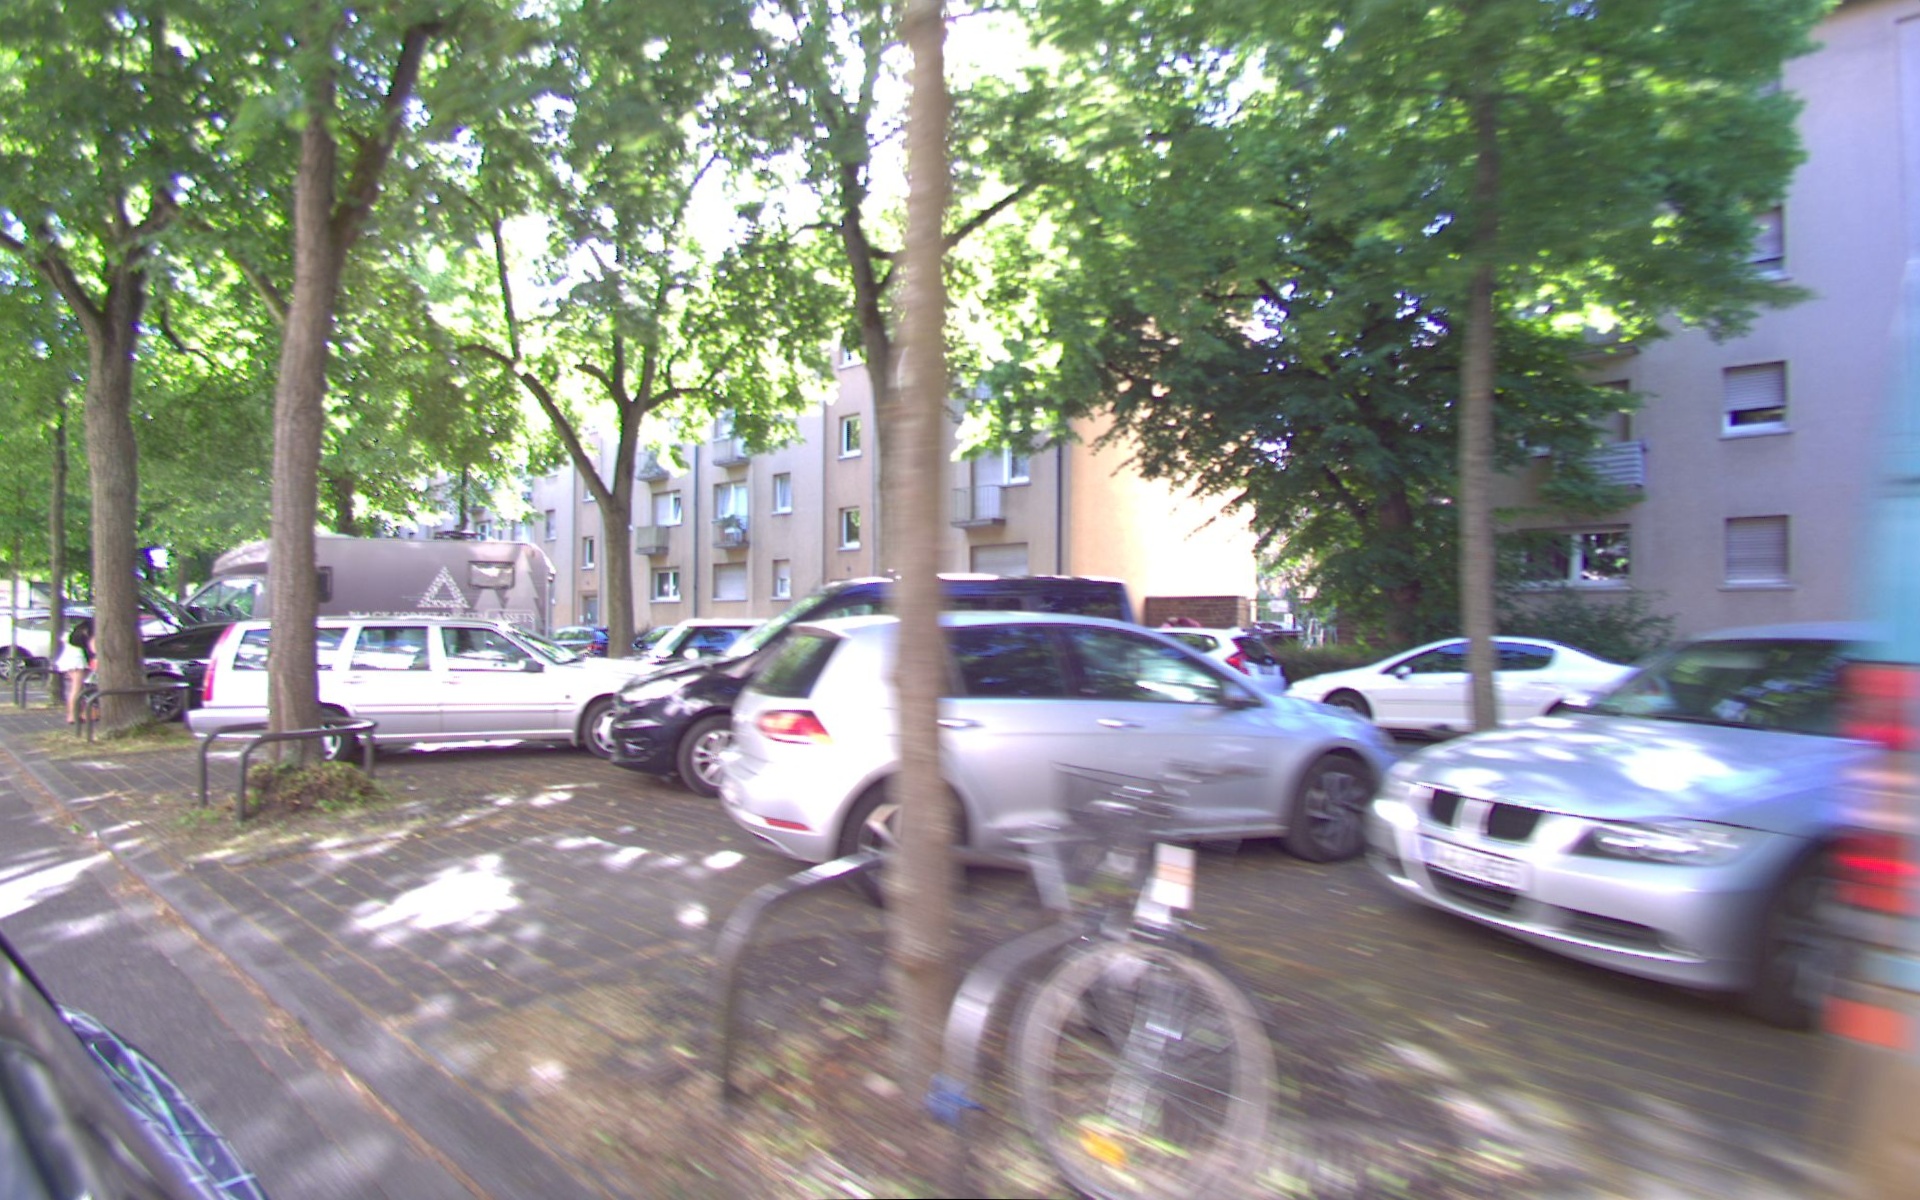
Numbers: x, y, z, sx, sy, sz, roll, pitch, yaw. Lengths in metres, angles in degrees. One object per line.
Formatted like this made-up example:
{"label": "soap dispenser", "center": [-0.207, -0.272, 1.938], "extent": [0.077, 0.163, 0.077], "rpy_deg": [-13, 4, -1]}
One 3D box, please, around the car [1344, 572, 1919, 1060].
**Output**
{"label": "car", "center": [3.909, 0.654, 4.404], "extent": [3.931, 1.441, 1.726], "rpy_deg": [0, -1, -17]}

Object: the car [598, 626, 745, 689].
{"label": "car", "center": [-7.681, 1.455, 26.784], "extent": [4.308, 1.519, 1.744], "rpy_deg": [-1, -2, 42]}

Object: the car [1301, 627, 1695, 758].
{"label": "car", "center": [6.893, 1.075, 13.277], "extent": [4.295, 1.435, 1.646], "rpy_deg": [-1, -2, 42]}

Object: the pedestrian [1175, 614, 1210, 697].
{"label": "pedestrian", "center": [4.972, 1.169, 21.666], "extent": [0.559, 1.740, 0.494], "rpy_deg": [-2, -2, 42]}

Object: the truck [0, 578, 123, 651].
{"label": "truck", "center": [-43.832, 0.674, 46.999], "extent": [7.200, 3.319, 2.554], "rpy_deg": [0, -2, -16]}

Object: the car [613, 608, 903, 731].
{"label": "car", "center": [-2.673, 0.837, 13.226], "extent": [3.512, 1.435, 1.680], "rpy_deg": [0, -1, -19]}

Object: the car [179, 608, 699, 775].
{"label": "car", "center": [-4.955, 0.822, 10.307], "extent": [4.413, 1.454, 1.737], "rpy_deg": [0, -1, -15]}

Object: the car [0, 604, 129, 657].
{"label": "car", "center": [-34.314, 1.134, 37.967], "extent": [4.445, 1.879, 2.088], "rpy_deg": [0, -1, -23]}

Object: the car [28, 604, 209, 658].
{"label": "car", "center": [-29.965, 1.095, 36.202], "extent": [4.526, 1.846, 2.025], "rpy_deg": [1, -1, -19]}

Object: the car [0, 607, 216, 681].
{"label": "car", "center": [-20.852, 1.024, 24.632], "extent": [4.075, 1.692, 1.765], "rpy_deg": [0, -1, -19]}

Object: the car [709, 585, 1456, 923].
{"label": "car", "center": [0.627, 0.680, 5.898], "extent": [3.888, 1.454, 1.852], "rpy_deg": [0, -1, -20]}

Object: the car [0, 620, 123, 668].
{"label": "car", "center": [-29.874, 1.390, 32.393], "extent": [4.413, 1.466, 1.793], "rpy_deg": [0, -1, -16]}

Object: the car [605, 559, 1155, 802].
{"label": "car", "center": [-0.738, 0.603, 8.951], "extent": [4.482, 1.777, 1.816], "rpy_deg": [0, -1, -18]}

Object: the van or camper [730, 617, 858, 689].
{"label": "van or camper", "center": [-3.845, 1.185, 23.338], "extent": [2.697, 1.567, 1.579], "rpy_deg": [-1, -2, 42]}

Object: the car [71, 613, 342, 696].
{"label": "car", "center": [-14.710, 1.036, 20.026], "extent": [3.931, 1.519, 1.763], "rpy_deg": [0, -2, -19]}

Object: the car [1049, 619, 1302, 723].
{"label": "car", "center": [3.467, 1.075, 16.680], "extent": [3.769, 1.511, 1.646], "rpy_deg": [-1, -2, 42]}

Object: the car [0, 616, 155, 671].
{"label": "car", "center": [-25.960, 1.212, 28.889], "extent": [4.349, 1.473, 1.721], "rpy_deg": [0, 0, -15]}

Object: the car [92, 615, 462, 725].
{"label": "car", "center": [-9.813, 0.959, 14.954], "extent": [4.254, 1.435, 1.680], "rpy_deg": [0, -1, -21]}

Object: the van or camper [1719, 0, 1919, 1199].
{"label": "van or camper", "center": [4.257, 0.219, 1.822], "extent": [5.420, 2.293, 2.228], "rpy_deg": [1, -2, -24]}

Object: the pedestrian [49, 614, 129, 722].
{"label": "pedestrian", "center": [-12.236, 0.935, 14.236], "extent": [0.699, 1.467, 0.598], "rpy_deg": [1, -2, -25]}

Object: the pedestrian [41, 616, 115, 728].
{"label": "pedestrian", "center": [-11.890, 0.948, 13.659], "extent": [0.606, 1.467, 0.521], "rpy_deg": [1, -2, -25]}

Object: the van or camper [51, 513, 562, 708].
{"label": "van or camper", "center": [-10.807, 0.219, 17.661], "extent": [7.124, 2.952, 2.321], "rpy_deg": [1, -2, -21]}

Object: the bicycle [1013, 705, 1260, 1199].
{"label": "bicycle", "center": [0.536, 0.888, 2.959], "extent": [0.506, 1.013, 1.718], "rpy_deg": [0, -1, 12]}

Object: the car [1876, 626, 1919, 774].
{"label": "car", "center": [11.383, 0.966, 9.301], "extent": [4.362, 1.435, 1.646], "rpy_deg": [-1, -2, 42]}

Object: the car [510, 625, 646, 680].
{"label": "car", "center": [-11.486, 1.514, 30.323], "extent": [4.532, 1.519, 1.972], "rpy_deg": [-1, -2, 42]}
